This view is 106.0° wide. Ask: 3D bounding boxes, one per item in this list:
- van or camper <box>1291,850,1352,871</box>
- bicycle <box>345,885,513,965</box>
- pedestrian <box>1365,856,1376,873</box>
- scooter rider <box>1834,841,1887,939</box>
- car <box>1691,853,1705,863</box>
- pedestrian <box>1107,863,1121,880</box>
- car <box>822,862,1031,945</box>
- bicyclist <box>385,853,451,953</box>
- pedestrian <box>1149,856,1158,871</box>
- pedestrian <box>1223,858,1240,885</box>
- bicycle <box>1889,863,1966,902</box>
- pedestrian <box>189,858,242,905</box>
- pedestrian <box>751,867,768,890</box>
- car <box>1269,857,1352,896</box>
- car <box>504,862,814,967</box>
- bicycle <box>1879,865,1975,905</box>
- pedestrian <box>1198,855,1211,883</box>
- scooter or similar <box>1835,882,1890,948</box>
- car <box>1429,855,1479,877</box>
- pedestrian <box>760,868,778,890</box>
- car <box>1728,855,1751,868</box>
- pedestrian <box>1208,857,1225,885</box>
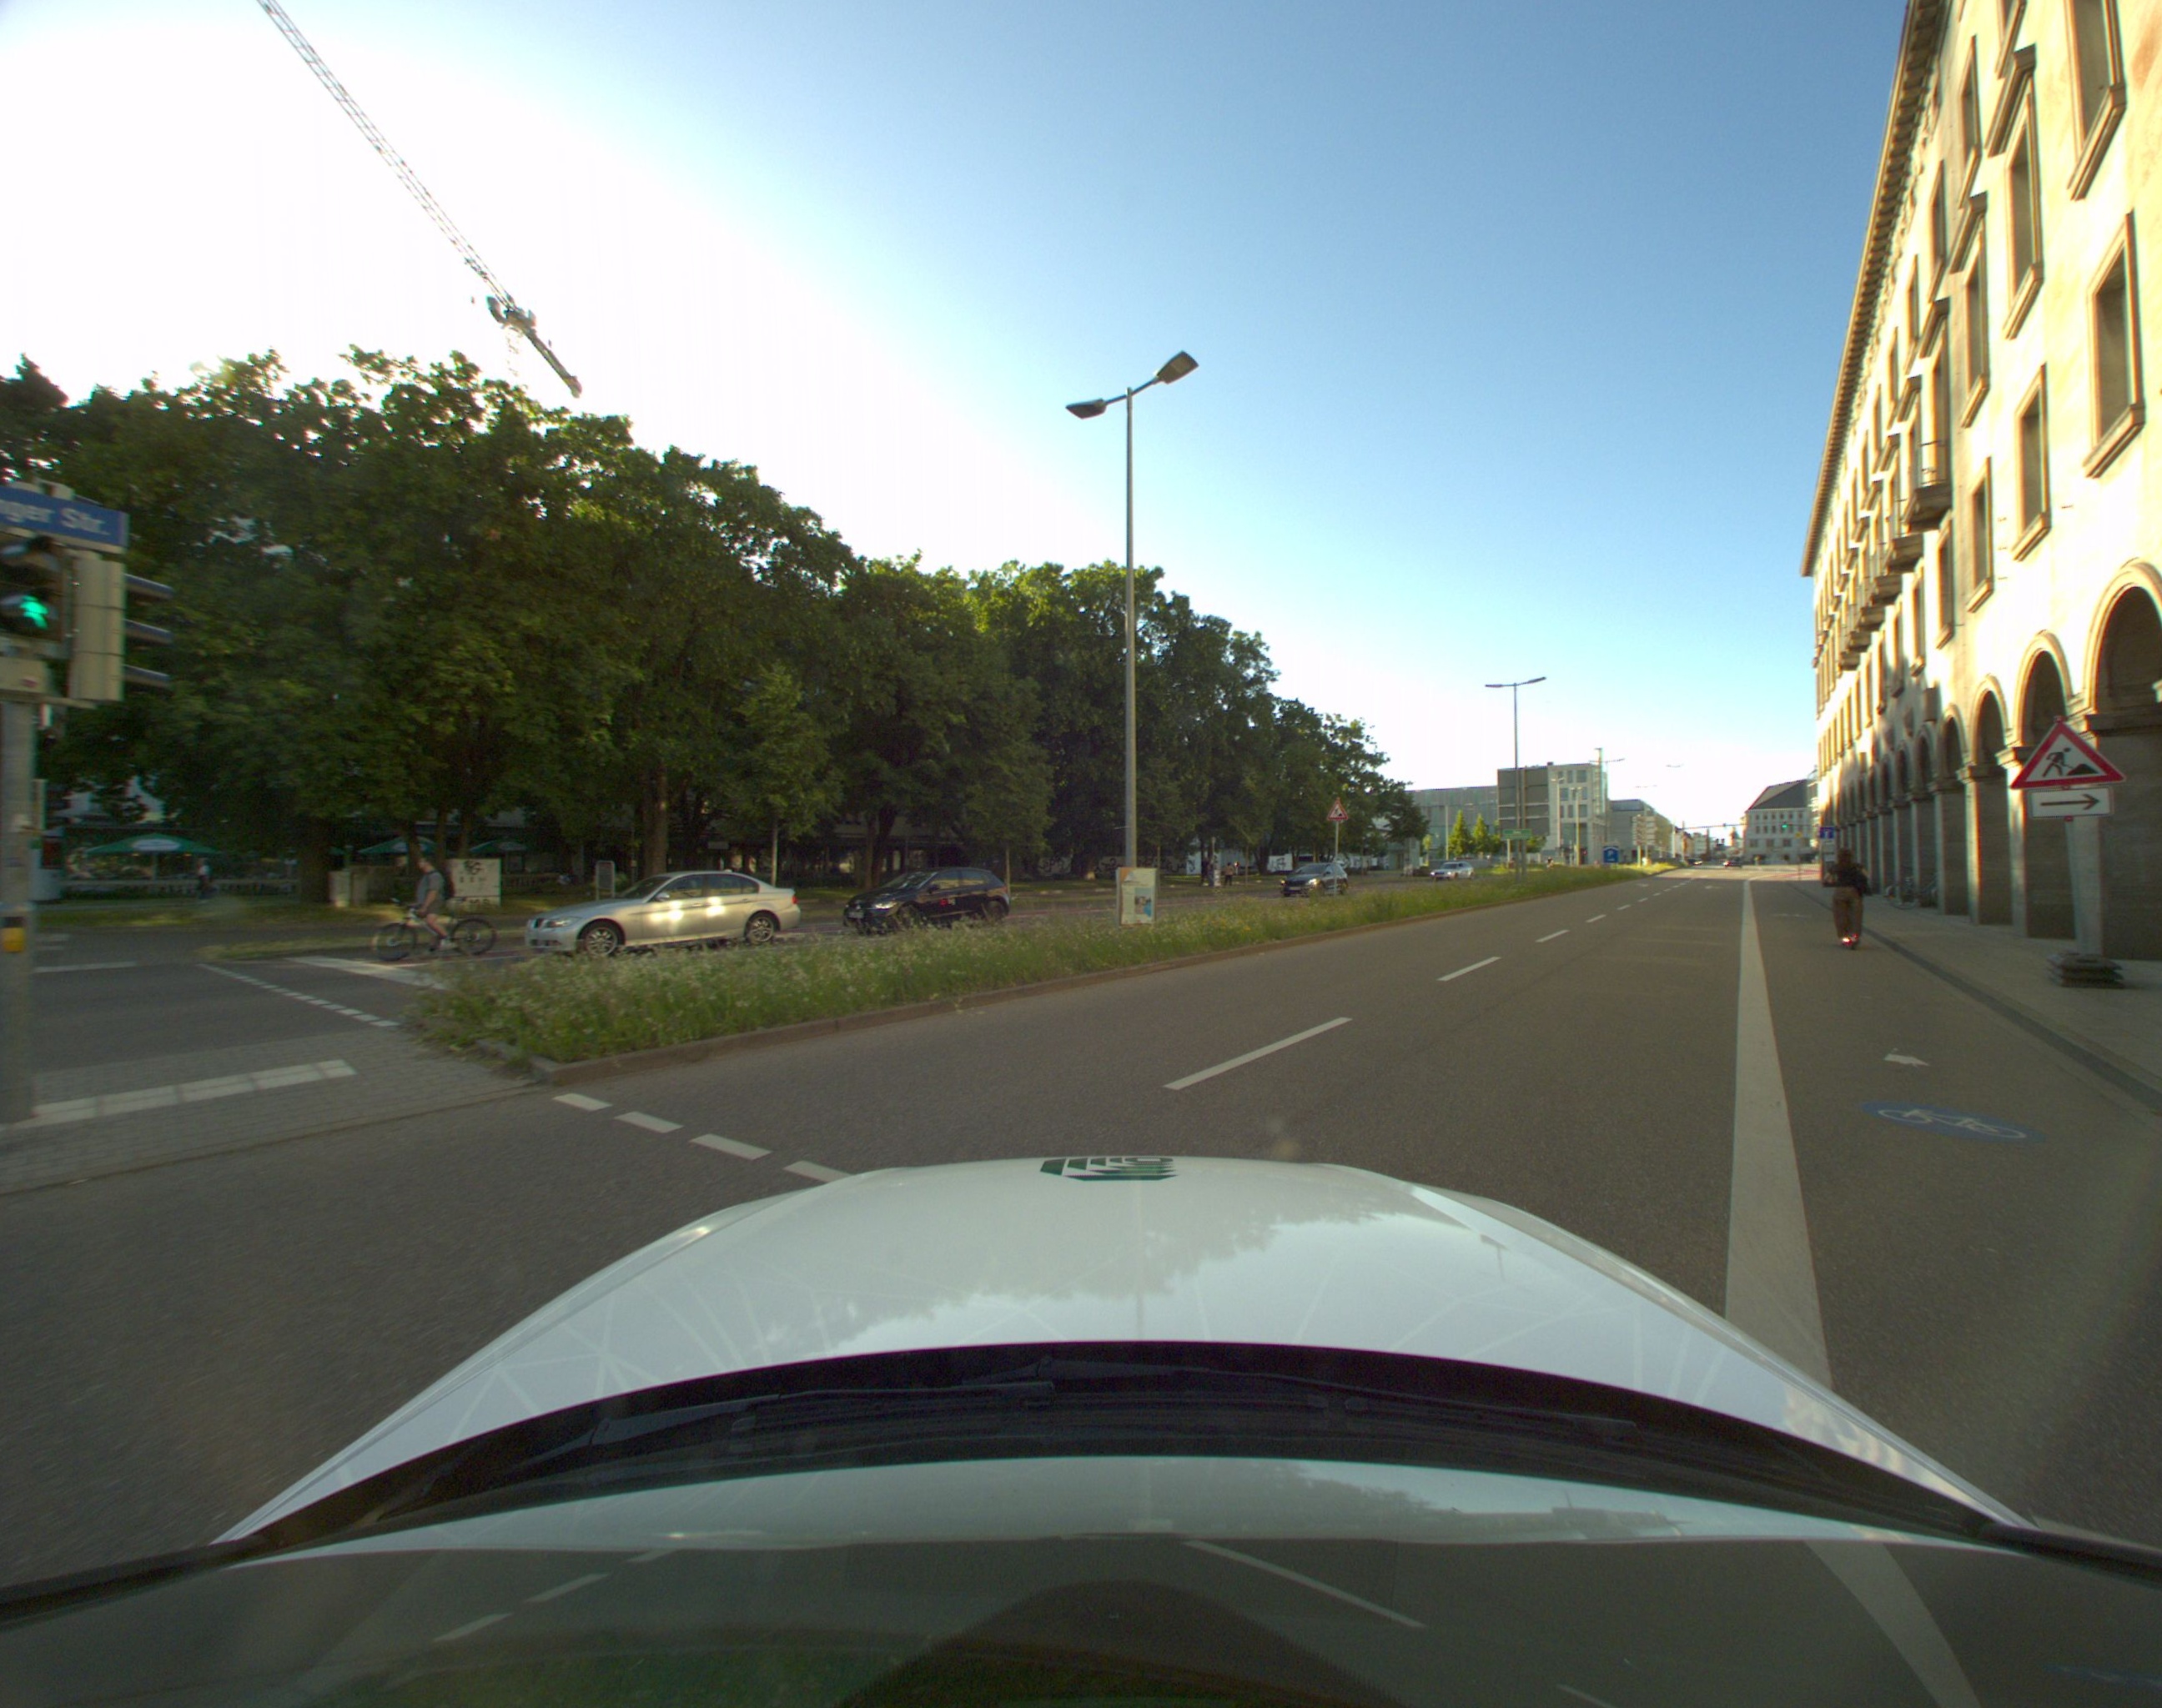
[{"bbox_3d":[25.229,0.750,85.554,5.609,2.014,2.271,-2,-3,41],"label":"van or camper"},{"bbox_3d":[-11.363,1.203,14.312,2.258,1.240,0.769,0,-1,-36],"label":"bicycle"},{"bbox_3d":[26.694,0.942,75.102,0.948,1.527,0.607,0,-1,-45],"label":"pedestrian"},{"bbox_3d":[13.375,0.612,13.995,0.556,1.632,0.654,-1,-1,37],"label":"scooter rider"},{"bbox_3d":[121.735,0.794,160.633,1.974,1.742,4.675,-1,1,40],"label":"car"},{"bbox_3d":[3.087,1.644,76.340,0.893,1.540,0.900,-1,-1,33],"label":"pedestrian"},{"bbox_3d":[-3.468,1.044,19.040,1.974,1.676,4.577,-1,-1,40],"label":"car"},{"bbox_3d":[-11.533,0.833,14.201,0.842,1.679,0.775,0,-2,-36],"label":"bicyclist"},{"bbox_3d":[7.857,1.026,88.364,0.749,1.641,0.717,0,-1,-44],"label":"pedestrian"},{"bbox_3d":[9.340,1.099,50.473,0.735,1.641,0.730,-1,-1,44],"label":"pedestrian"},{"bbox_3d":[24.435,0.807,23.512,1.706,1.050,0.610,-2,-2,-7],"label":"bicycle"},{"bbox_3d":[-33.487,1.048,31.536,1.220,1.740,0.885,0,-1,-35],"label":"pedestrian"},{"bbox_3d":[-19.450,1.482,49.265,0.897,1.340,0.669,-1,-1,43],"label":"pedestrian"},{"bbox_3d":[10.048,0.940,35.518,1.974,1.565,4.086,-1,-1,40],"label":"car"},{"bbox_3d":[-7.452,0.986,14.787,1.974,1.561,4.577,-4,-2,40],"label":"car"},{"bbox_3d":[23.000,0.850,22.182,1.692,1.050,0.531,-3,-2,25],"label":"bicycle"},{"bbox_3d":[7.810,0.962,51.548,0.519,1.740,0.659,-1,-1,44],"label":"pedestrian"},{"bbox_3d":[13.286,1.016,13.864,0.550,1.031,1.124,-1,-1,38],"label":"scooter or similar"},{"bbox_3d":[27.472,0.881,59.916,1.915,1.526,4.614,-1,-1,45],"label":"car"},{"bbox_3d":[-19.043,1.508,49.732,0.818,1.340,0.720,-1,-1,43],"label":"pedestrian"},{"bbox_3d":[79.198,0.900,97.991,1.758,1.564,3.813,-1,-1,34],"label":"car"},{"bbox_3d":[8.484,1.055,50.910,0.764,1.740,0.765,-1,-1,44],"label":"pedestrian"}]
